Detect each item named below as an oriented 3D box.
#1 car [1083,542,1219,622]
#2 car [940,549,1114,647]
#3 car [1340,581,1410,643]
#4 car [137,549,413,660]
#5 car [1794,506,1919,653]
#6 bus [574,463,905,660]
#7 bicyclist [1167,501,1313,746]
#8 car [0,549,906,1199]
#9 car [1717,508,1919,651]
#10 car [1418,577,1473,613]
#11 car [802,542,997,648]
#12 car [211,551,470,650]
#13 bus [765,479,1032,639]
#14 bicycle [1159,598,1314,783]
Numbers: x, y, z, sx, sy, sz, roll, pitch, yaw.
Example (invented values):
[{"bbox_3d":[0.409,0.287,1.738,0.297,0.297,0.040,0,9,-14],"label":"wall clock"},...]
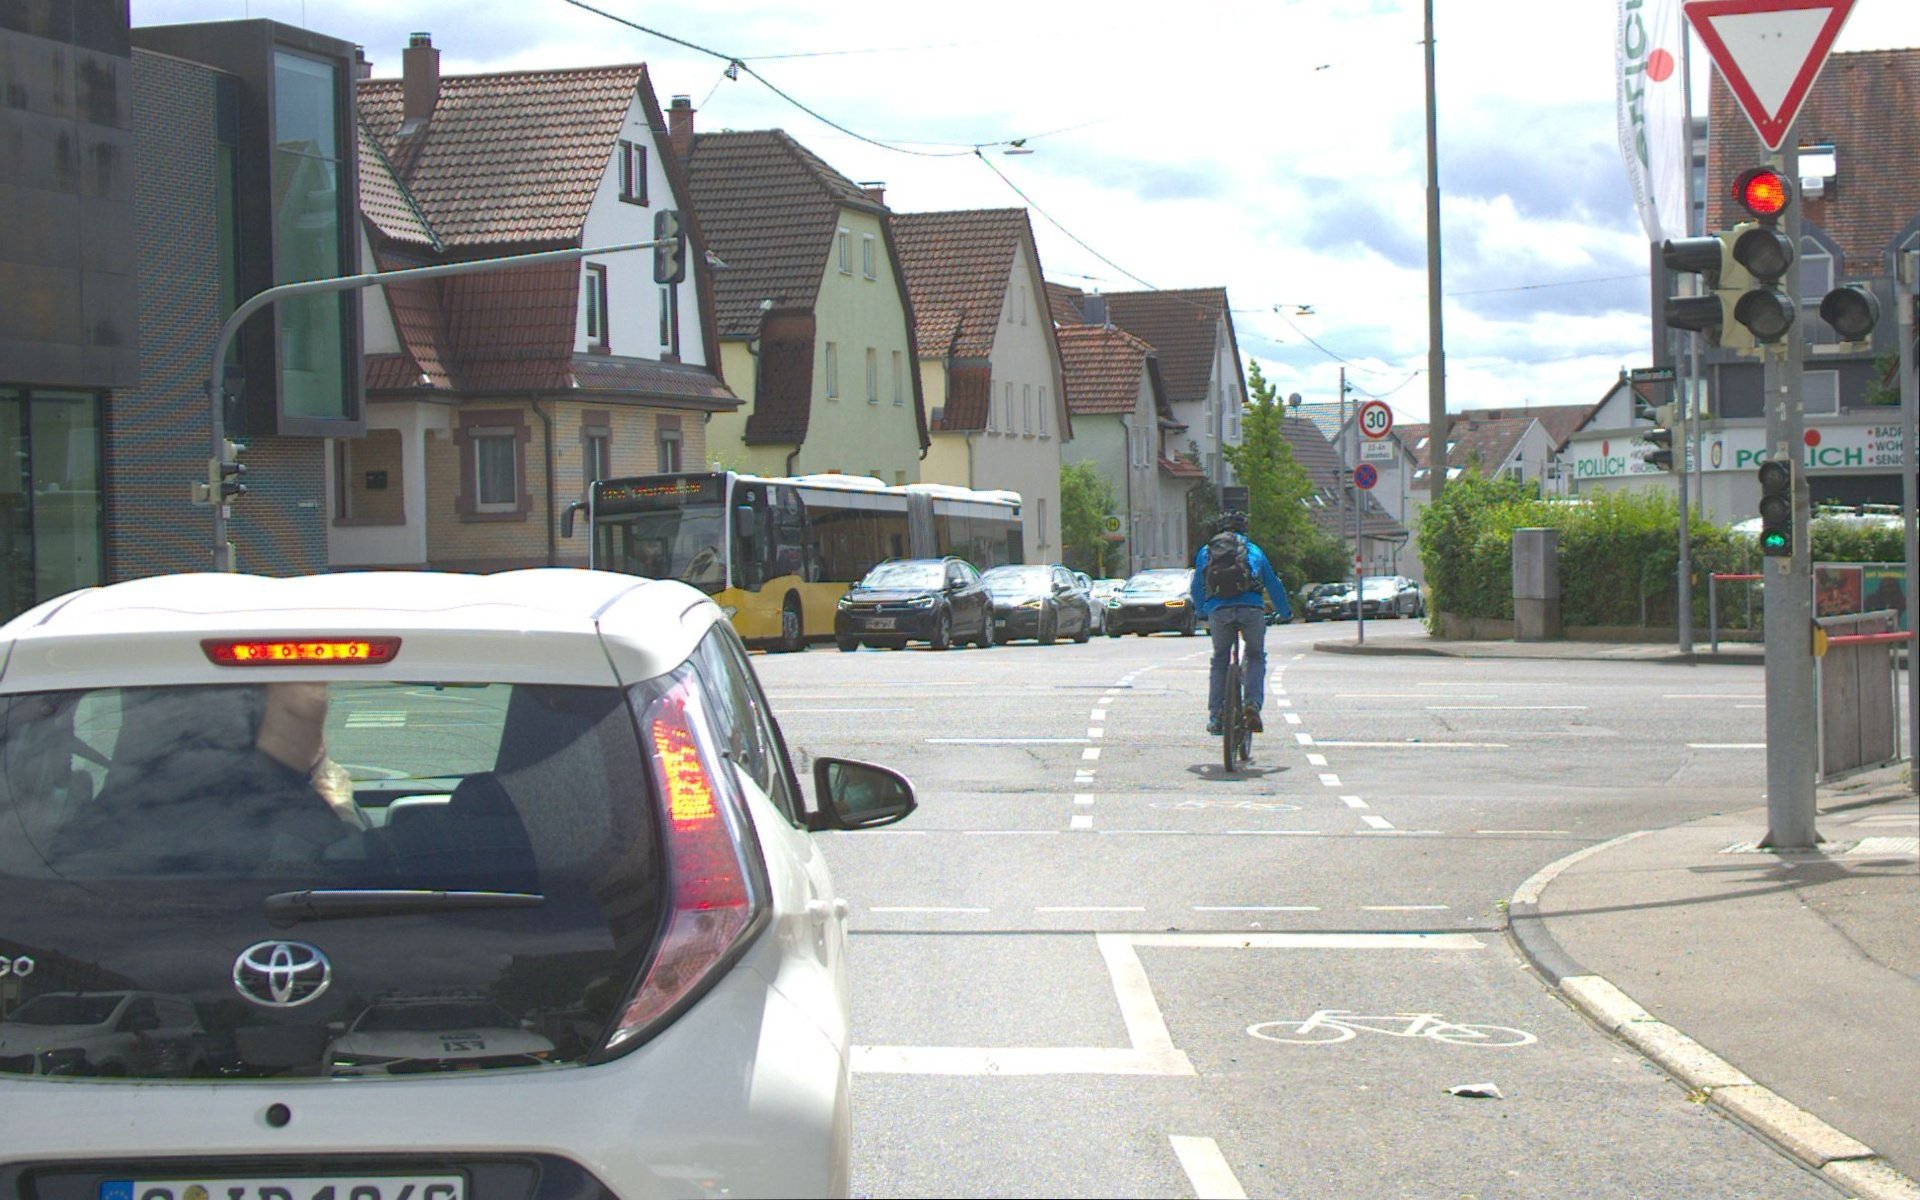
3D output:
[{"bbox_3d":[4.082,-0.415,72.849,1.995,1.634,3.997,0,1,17],"label":"car"},{"bbox_3d":[1.228,-0.074,60.426,1.995,1.634,4.180,0,1,17],"label":"car"},{"bbox_3d":[14.136,0.385,116.967,1.995,2.007,3.998,0,1,13],"label":"car"},{"bbox_3d":[-11.421,0.050,57.408,3.989,1.634,1.999,3,2,13],"label":"car"},{"bbox_3d":[13.674,-0.286,46.919,3.986,1.941,2.001,0,1,-9],"label":"car"},{"bbox_3d":[-3.526,-0.692,58.081,2.780,3.049,9.185,0,1,15],"label":"bus"},{"bbox_3d":[1.912,0.150,23.613,0.840,1.609,1.083,2,1,-1],"label":"bicyclist"},{"bbox_3d":[-1.026,0.648,6.433,1.738,1.455,3.533,-1,1,-3],"label":"car"},{"bbox_3d":[13.147,-0.311,49.362,3.986,2.007,2.001,0,1,-8],"label":"car"},{"bbox_3d":[22.971,-0.237,162.520,1.995,1.634,3.997,0,1,17],"label":"car"},{"bbox_3d":[-0.932,-0.111,55.257,1.995,1.634,3.997,0,1,17],"label":"car"},{"bbox_3d":[-10.852,0.006,60.284,3.989,1.678,1.999,0,1,14],"label":"car"},{"bbox_3d":[-1.042,-0.837,67.109,2.780,2.904,9.185,0,1,15],"label":"bus"},{"bbox_3d":[1.884,0.592,23.707,0.832,1.160,2.192,2,1,-1],"label":"bicycle"}]
